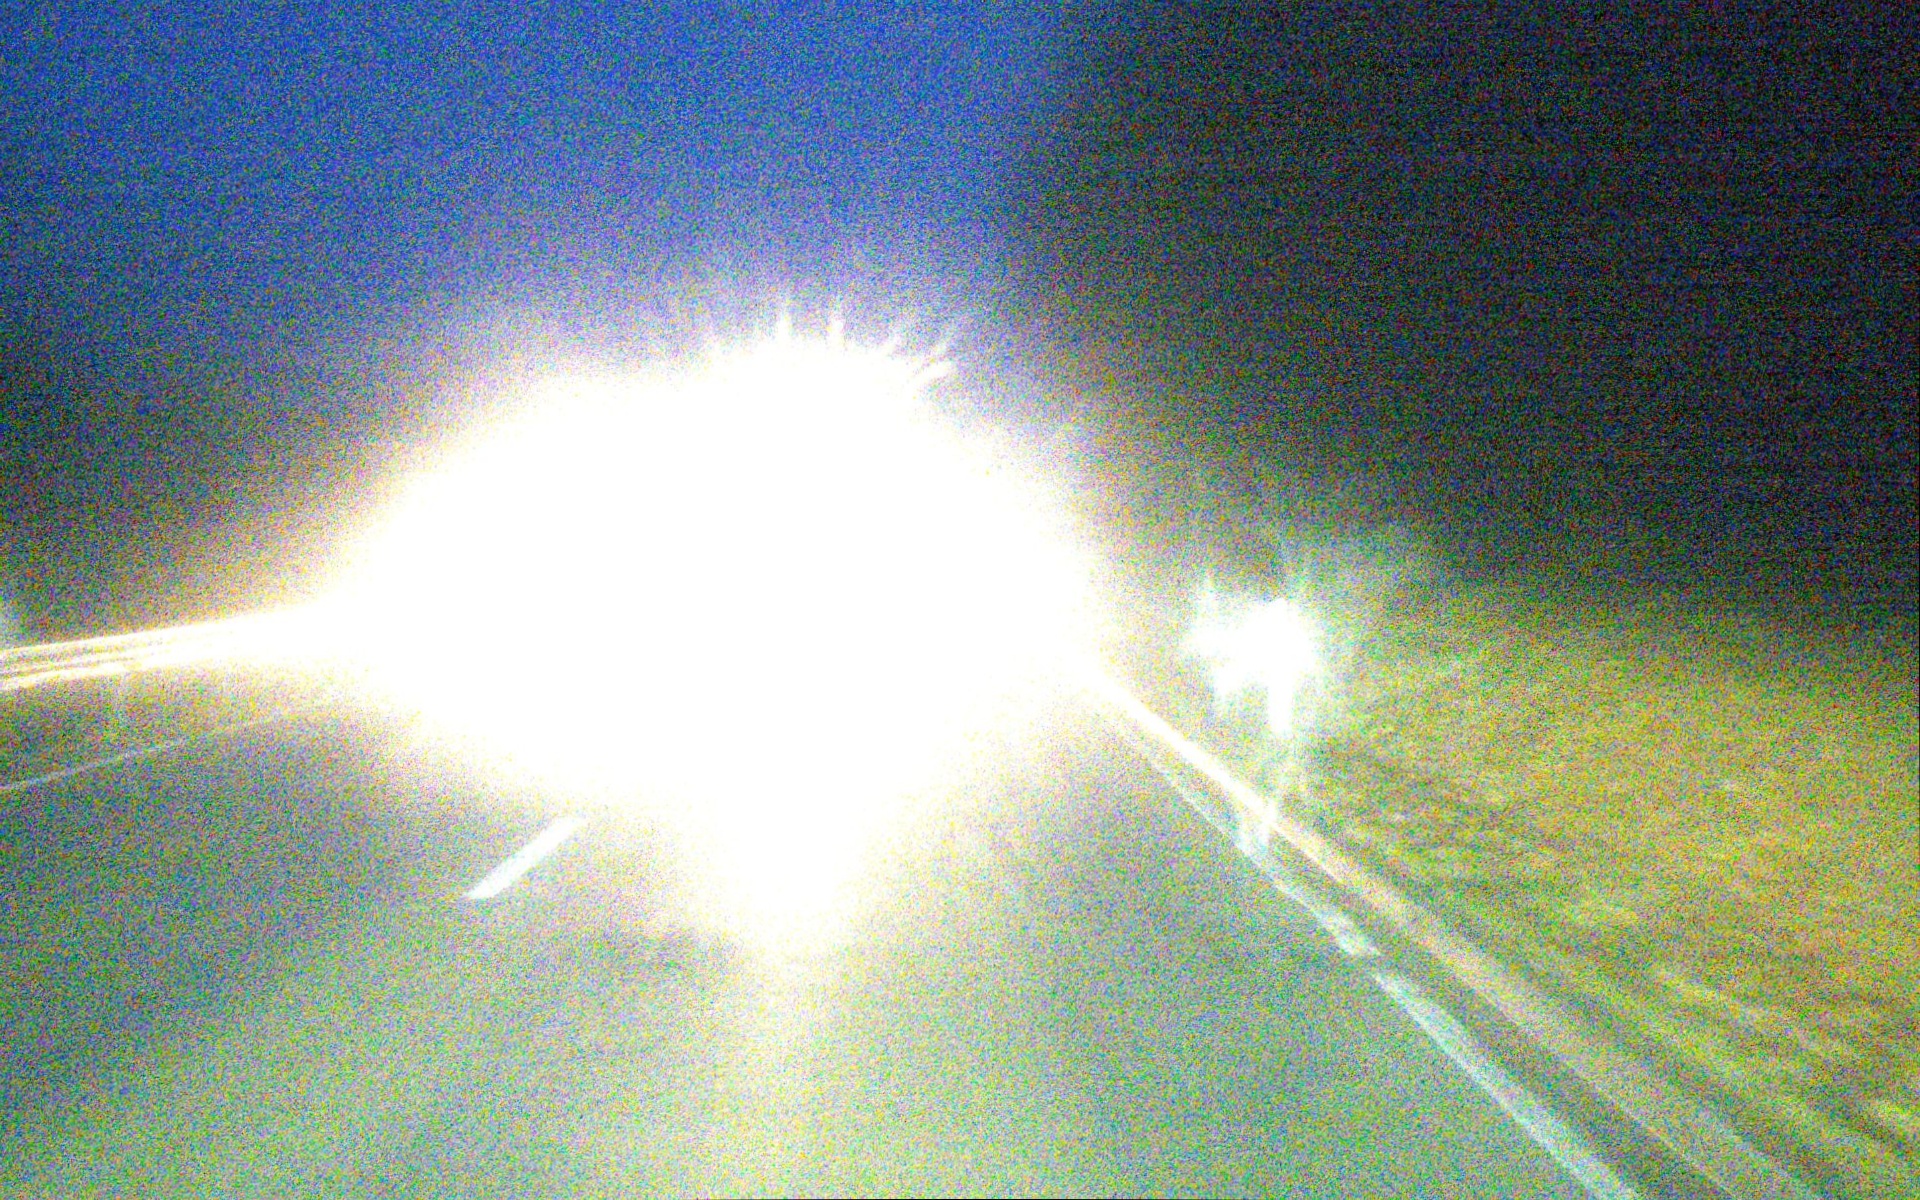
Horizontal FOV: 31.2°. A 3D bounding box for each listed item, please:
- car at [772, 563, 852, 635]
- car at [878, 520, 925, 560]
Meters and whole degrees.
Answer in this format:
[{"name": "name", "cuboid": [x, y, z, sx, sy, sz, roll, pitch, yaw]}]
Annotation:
[{"name": "car", "cuboid": [-3.987, -0.051, 93.229, 1.993, 1.818, 4.563, 1, 1, -1]}, {"name": "car", "cuboid": [-2.487, -2.576, 147.523, 1.993, 1.660, 4.000, 0, 1, 0]}]
